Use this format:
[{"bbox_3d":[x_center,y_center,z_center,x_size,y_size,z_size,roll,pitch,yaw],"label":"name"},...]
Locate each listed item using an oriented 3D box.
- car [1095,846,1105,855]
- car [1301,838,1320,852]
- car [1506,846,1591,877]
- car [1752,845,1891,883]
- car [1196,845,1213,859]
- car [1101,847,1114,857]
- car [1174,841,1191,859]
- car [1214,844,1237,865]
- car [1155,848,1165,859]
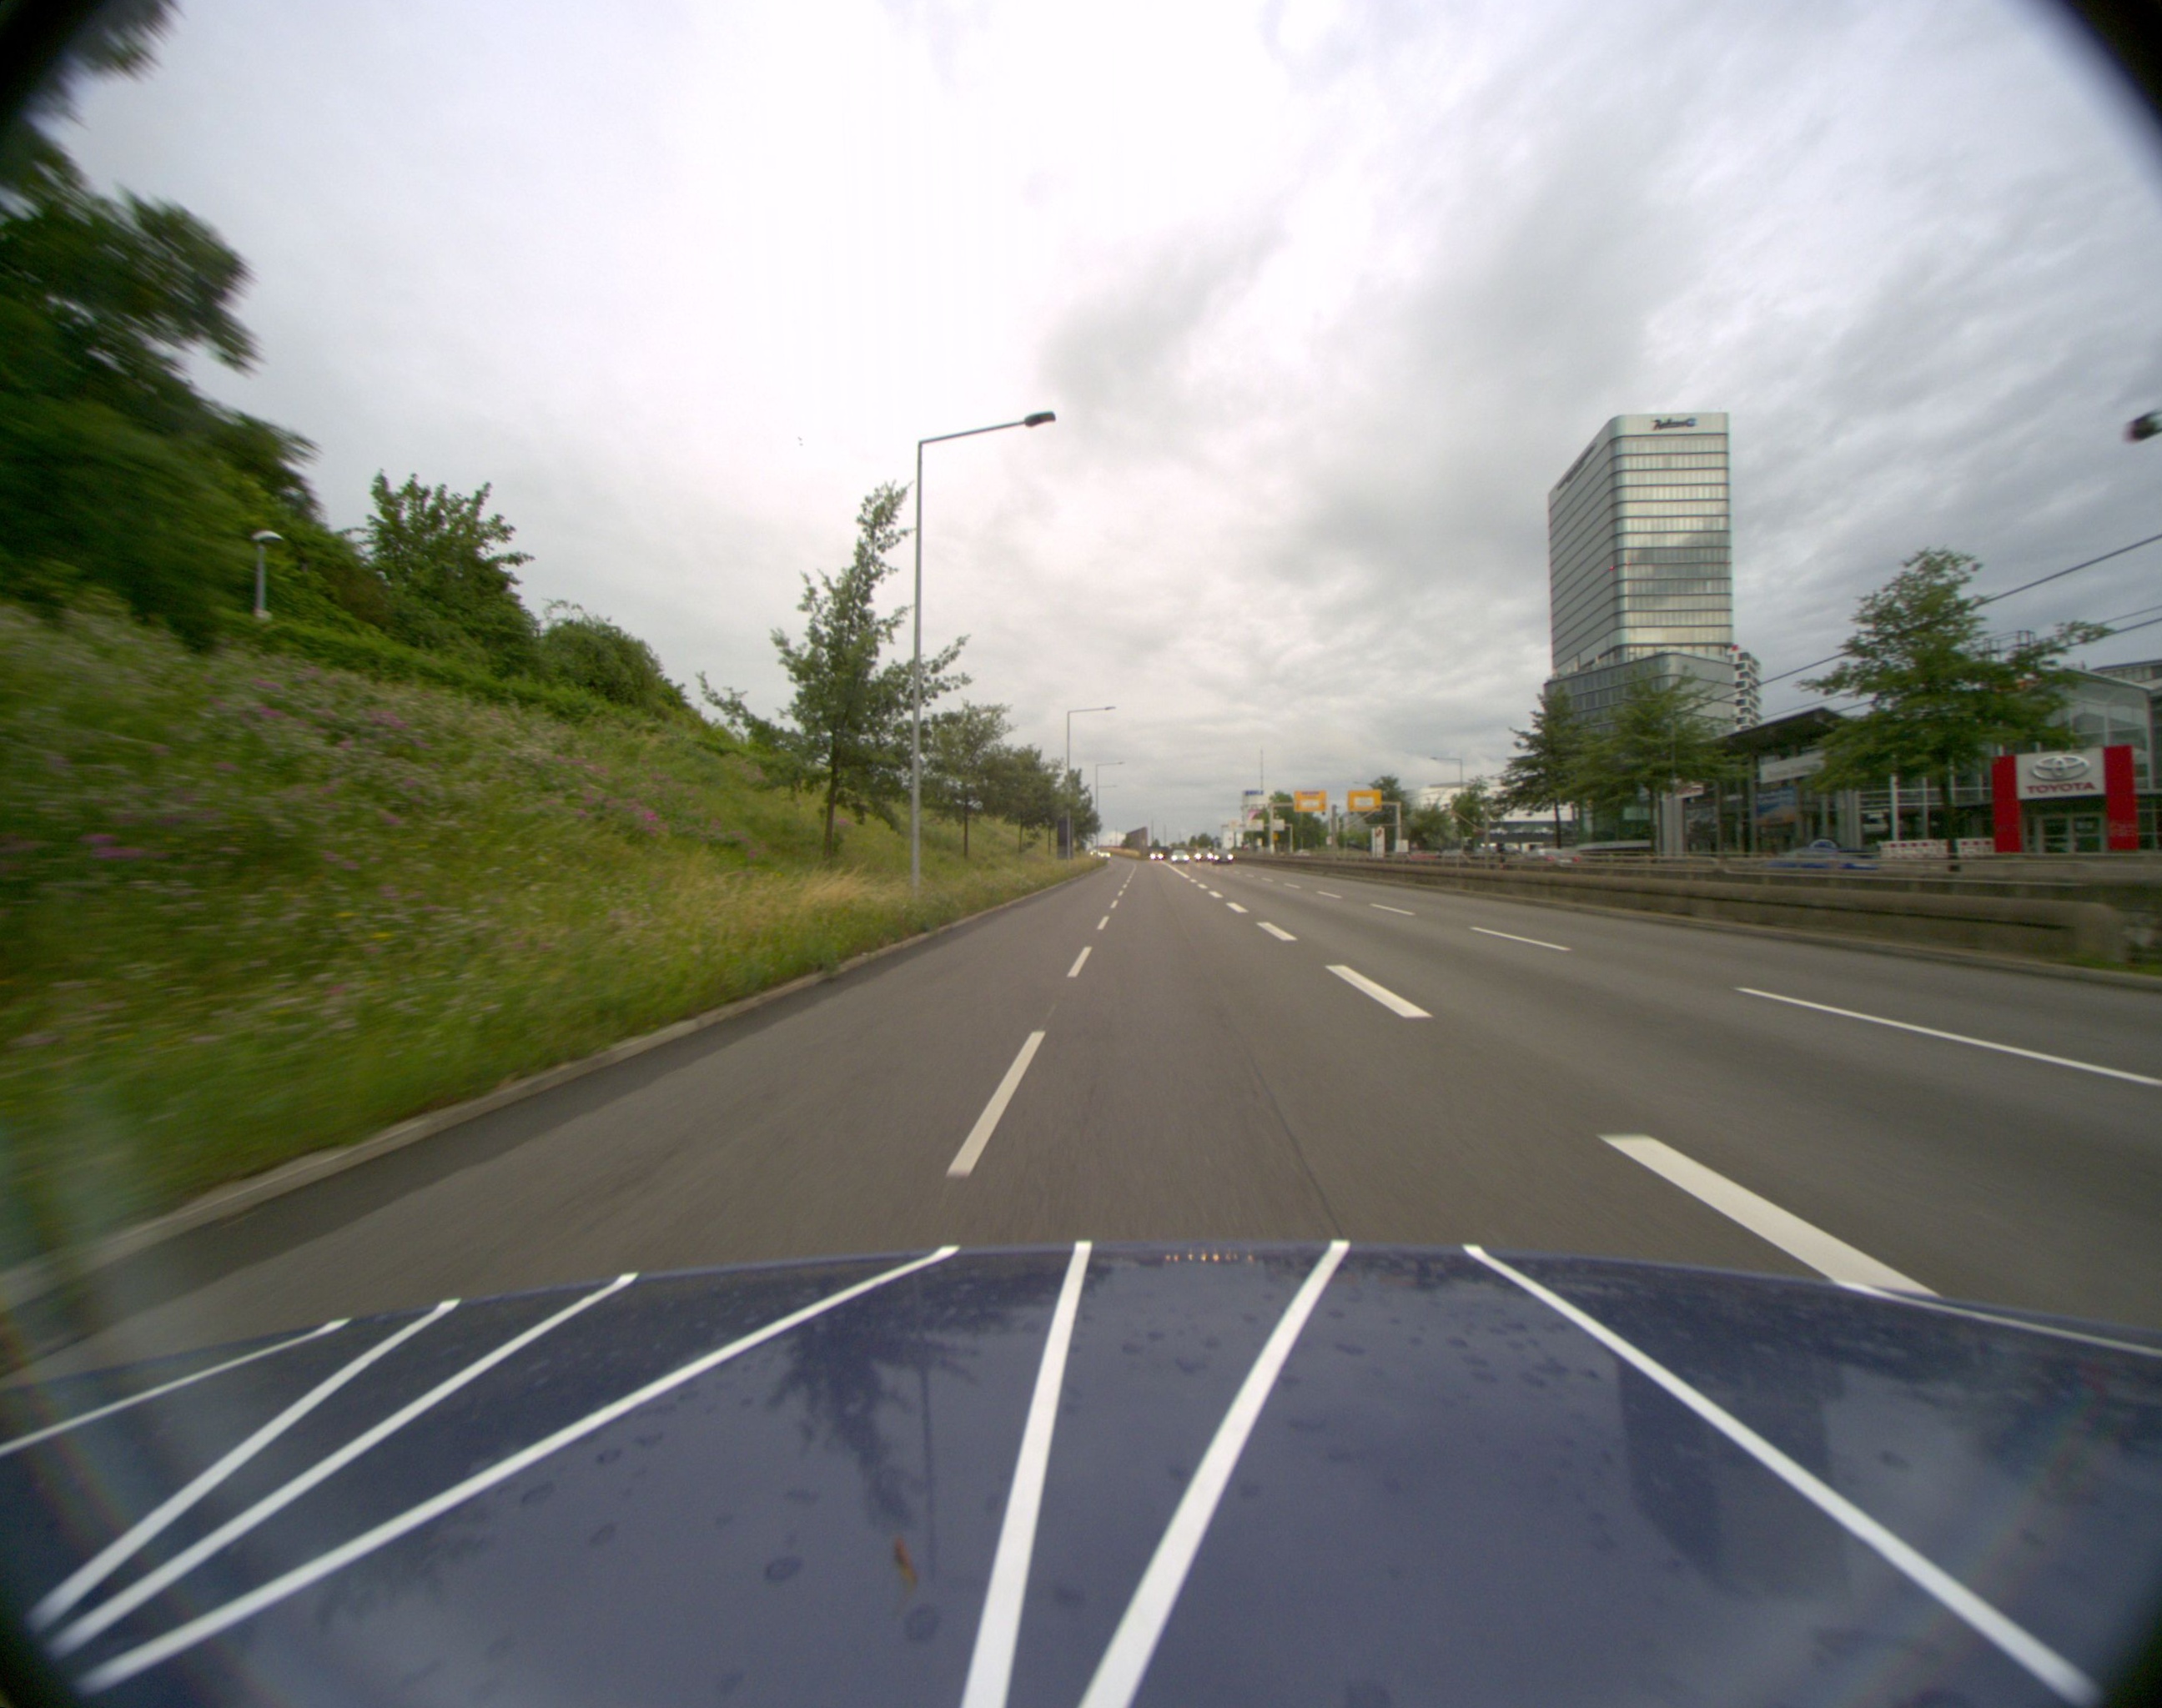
[{"bbox_3d":[3.851,-0.661,153.377,1.793,1.621,4.378,-2,1,5],"label":"car"},{"bbox_3d":[32.471,-1.312,107.596,1.793,1.858,4.379,-2,1,7],"label":"car"},{"bbox_3d":[24.108,0.361,39.397,1.793,1.392,4.876,-2,1,6],"label":"car"},{"bbox_3d":[29.033,0.336,29.982,1.770,1.302,4.113,-2,1,7],"label":"car"},{"bbox_3d":[14.940,-0.288,92.251,1.793,1.535,4.379,-2,1,7],"label":"car"},{"bbox_3d":[4.613,-0.345,133.155,1.793,1.621,4.379,-2,1,7],"label":"car"},{"bbox_3d":[11.454,-0.450,85.727,1.793,1.858,4.379,-2,1,7],"label":"car"},{"bbox_3d":[13.863,0.039,72.952,1.793,1.858,4.379,-2,1,7],"label":"car"},{"bbox_3d":[14.611,-0.075,140.437,1.793,1.858,4.379,-2,1,7],"label":"car"}]
